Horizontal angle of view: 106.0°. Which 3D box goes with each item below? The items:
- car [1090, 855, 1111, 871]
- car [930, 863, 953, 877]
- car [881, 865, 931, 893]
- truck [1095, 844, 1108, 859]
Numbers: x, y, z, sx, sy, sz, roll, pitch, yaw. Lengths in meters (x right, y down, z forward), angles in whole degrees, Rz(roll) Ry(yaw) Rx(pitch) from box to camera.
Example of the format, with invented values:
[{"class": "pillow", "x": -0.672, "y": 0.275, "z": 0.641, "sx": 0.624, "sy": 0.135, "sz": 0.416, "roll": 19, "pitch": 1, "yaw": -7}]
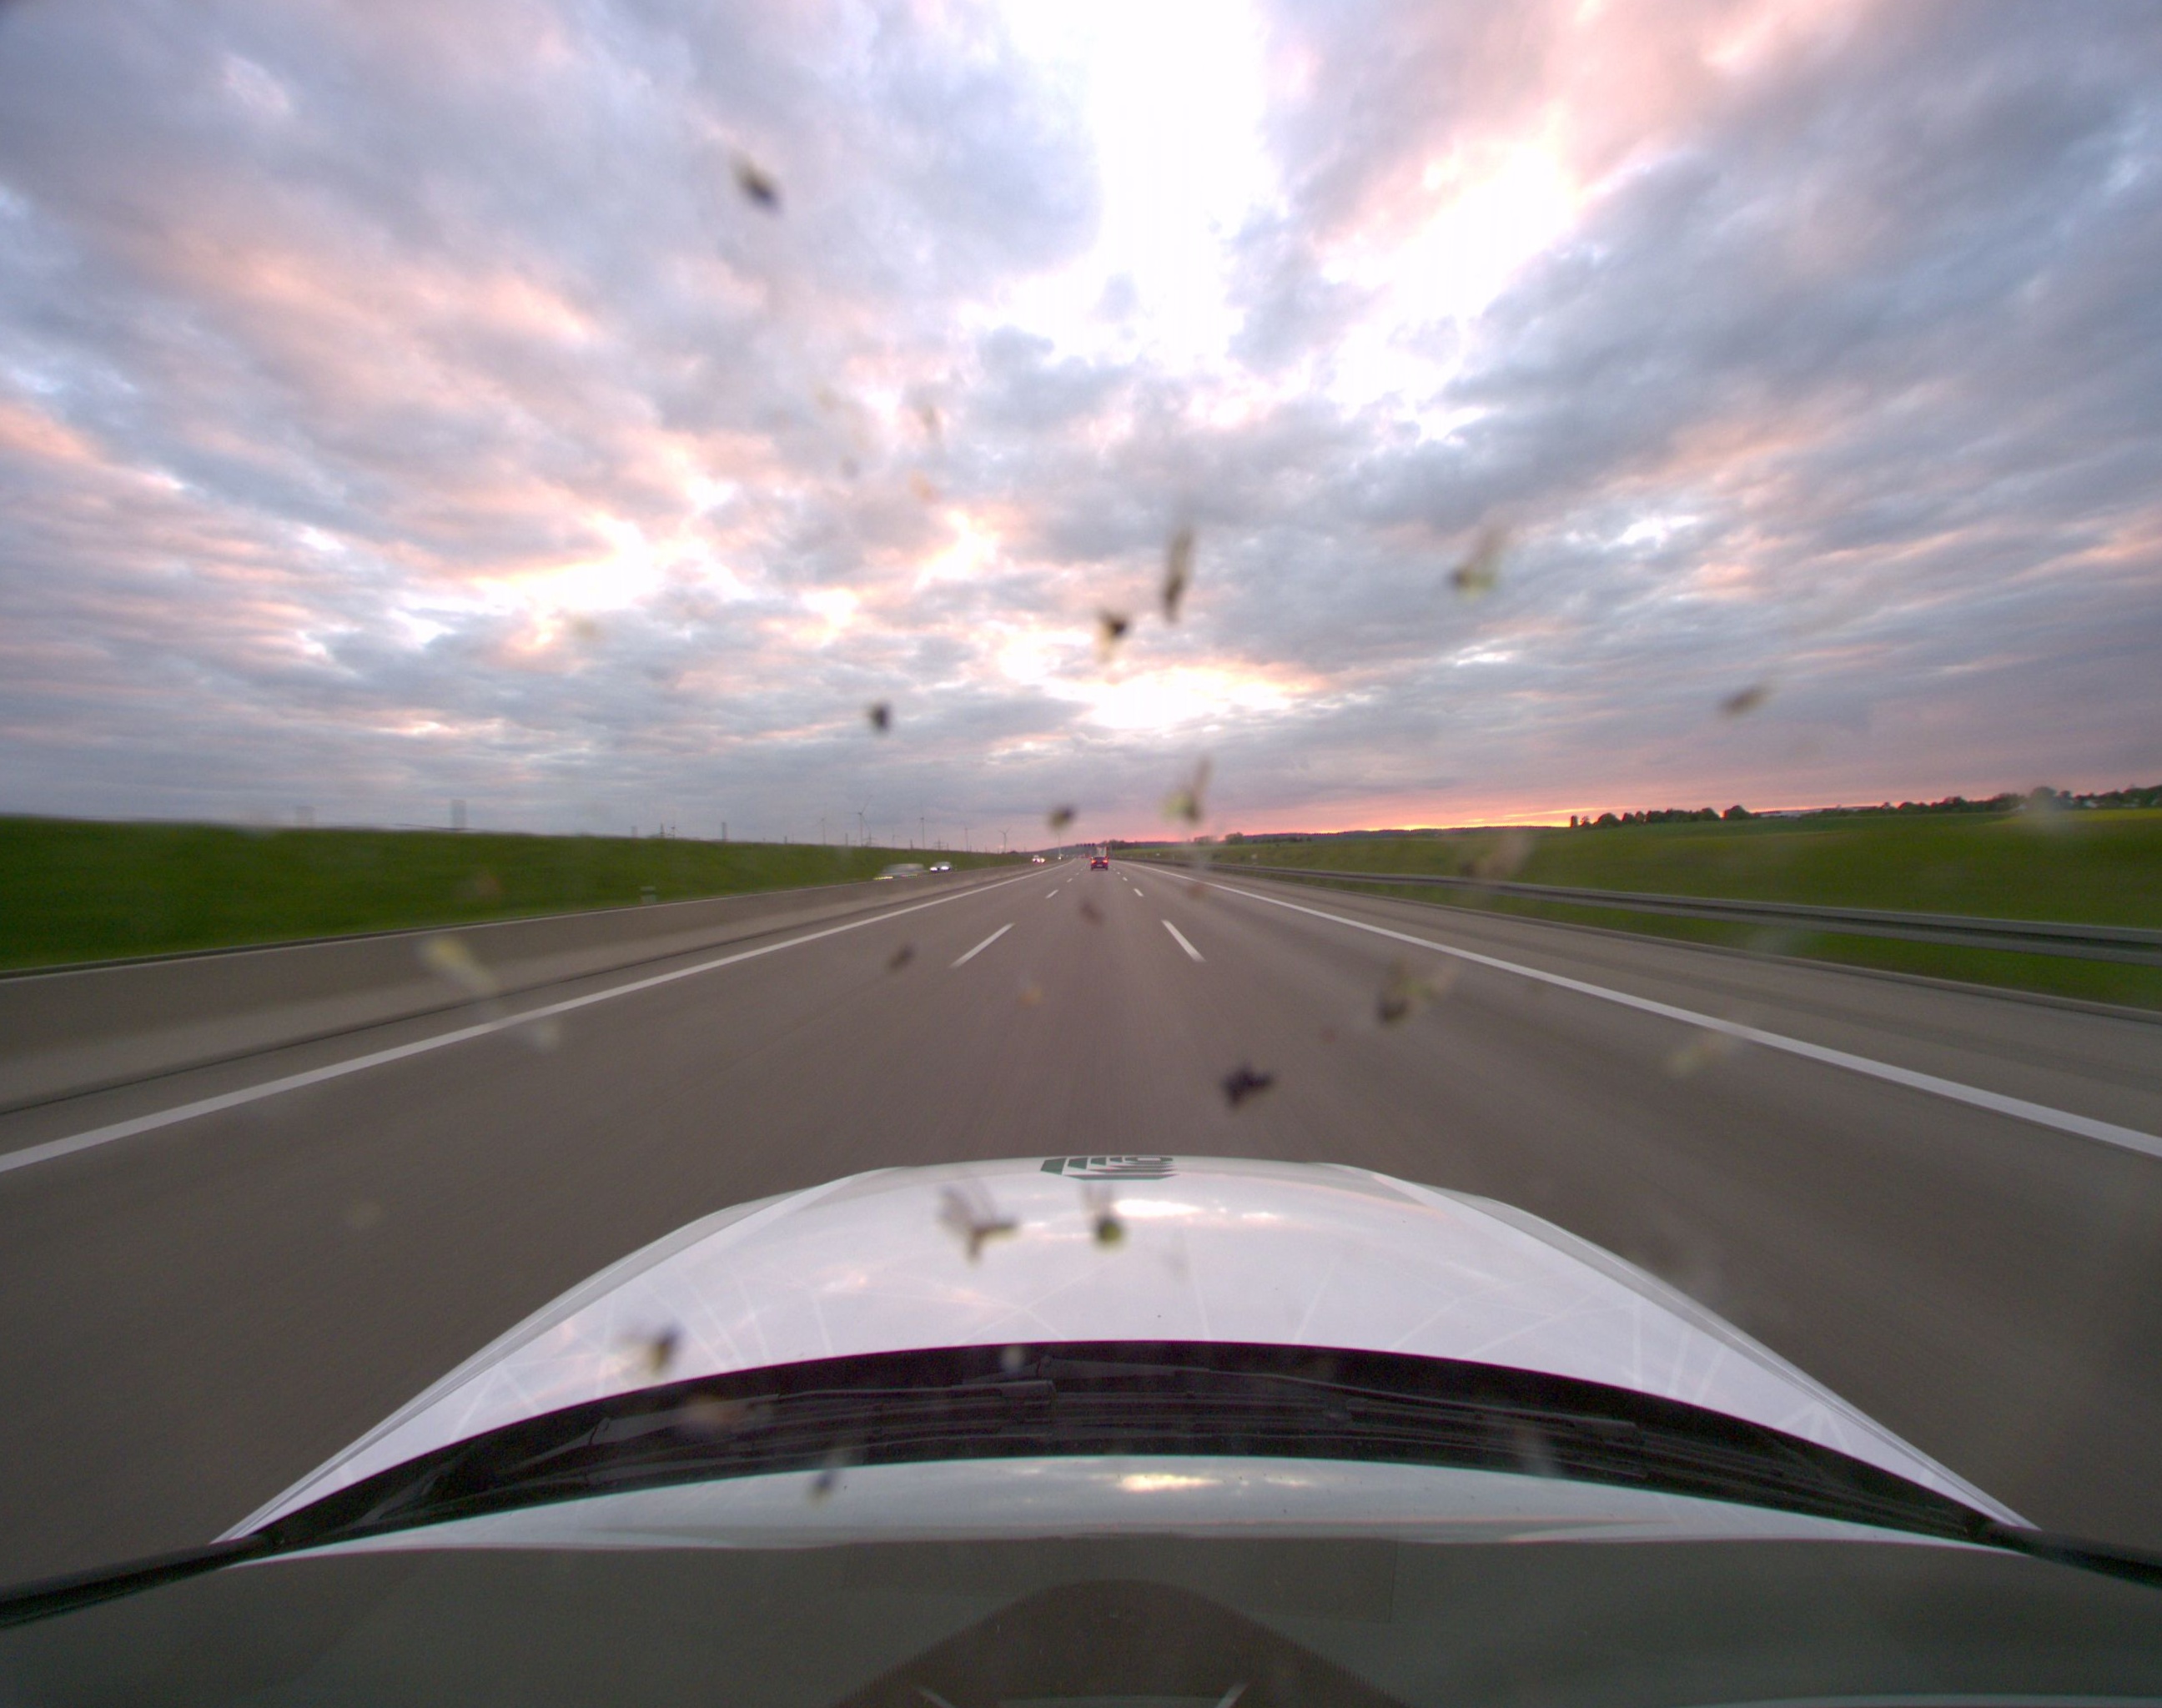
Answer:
[{"class": "car", "x": 2.005, "y": 0.920, "z": 83.718, "sx": 1.980, "sy": 1.429, "sz": 4.003, "roll": -3, "pitch": 0, "yaw": 2}, {"class": "car", "x": -16.797, "y": 1.896, "z": 98.071, "sx": 1.855, "sy": 1.553, "sz": 4.581, "roll": -3, "pitch": 0, "yaw": 0}, {"class": "car", "x": -10.092, "y": 1.416, "z": 47.292, "sx": 1.740, "sy": 1.385, "sz": 4.495, "roll": -3, "pitch": 0, "yaw": 1}, {"class": "truck", "x": 6.228, "y": -0.722, "z": 250.129, "sx": 3.664, "sy": 4.564, "sz": 10.978, "roll": -3, "pitch": 0, "yaw": 0}]
